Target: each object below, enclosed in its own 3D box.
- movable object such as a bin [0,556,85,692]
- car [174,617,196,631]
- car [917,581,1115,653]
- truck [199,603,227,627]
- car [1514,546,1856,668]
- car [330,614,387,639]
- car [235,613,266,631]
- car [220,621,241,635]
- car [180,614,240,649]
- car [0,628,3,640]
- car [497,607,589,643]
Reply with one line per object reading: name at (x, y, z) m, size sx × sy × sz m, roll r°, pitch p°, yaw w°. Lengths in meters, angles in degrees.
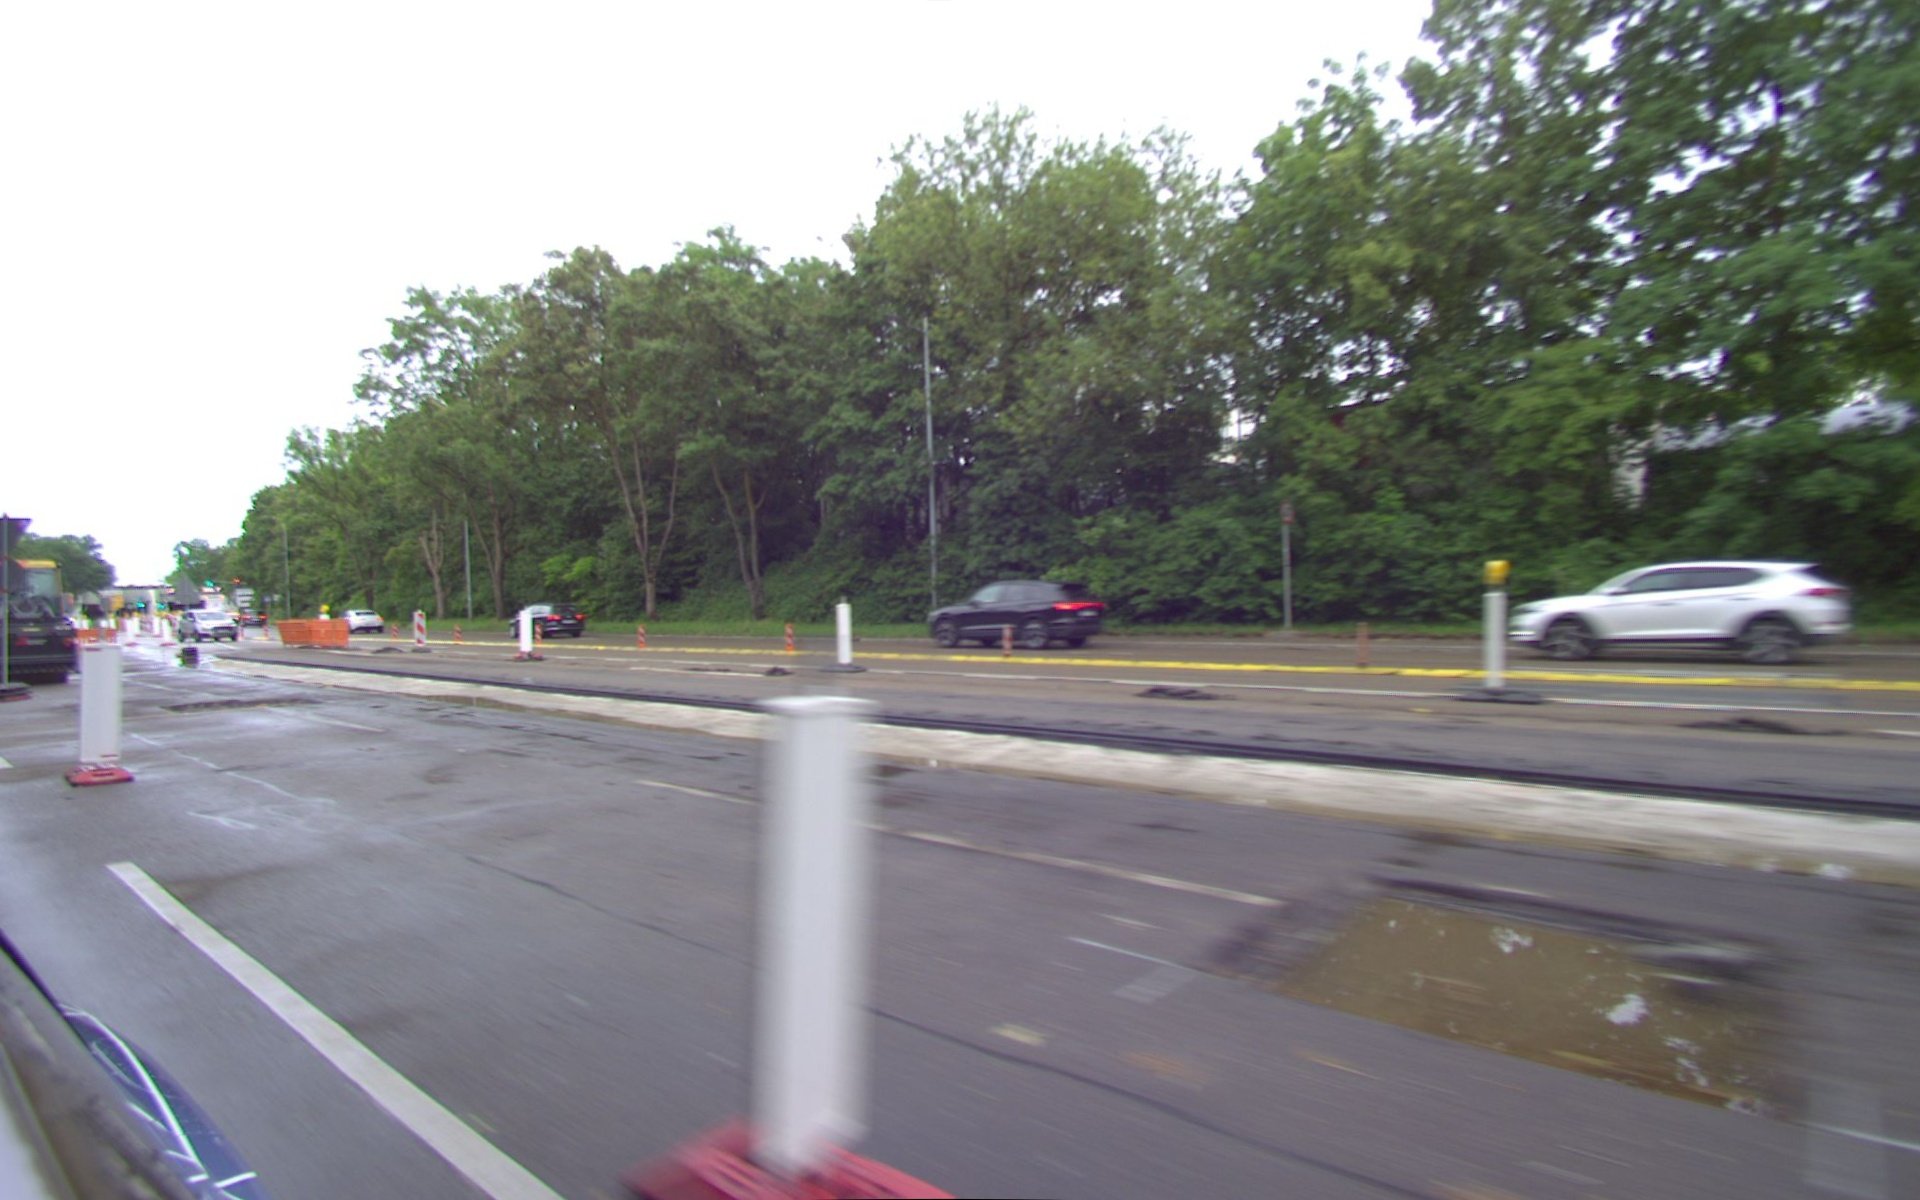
movable object such as a bin at (-22.740, 0.564, 24.509) m, size 5.246 × 3.008 × 1.784 m, roll -1°, pitch 0°, yaw 43°
car at (-92.665, 2.846, 121.026) m, size 1.655 × 1.626 × 3.772 m, roll 0°, pitch -1°, yaw -44°
car at (1.328, 0.438, 25.607) m, size 4.910 × 1.676 × 1.759 m, roll -1°, pitch -1°, yaw 39°
truck at (-122.303, 2.392, 165.578) m, size 3.104 × 3.860 × 9.662 m, roll -1°, pitch 0°, yaw -40°
car at (11.770, 0.128, 16.689) m, size 4.375 × 1.764 × 1.759 m, roll -1°, pitch 0°, yaw 39°
car at (-36.768, 1.629, 61.804) m, size 4.469 × 1.437 × 1.765 m, roll -1°, pitch 0°, yaw 43°
car at (-67.297, 2.121, 95.949) m, size 1.655 × 1.626 × 4.770 m, roll 0°, pitch -1°, yaw -44°
car at (-80.602, 3.057, 111.831) m, size 1.601 × 1.495 × 3.612 m, roll 0°, pitch -1°, yaw -41°
car at (-37.782, 1.566, 50.952) m, size 3.862 × 1.596 × 1.769 m, roll -1°, pitch 1°, yaw 44°
car at (-122.639, 4.357, 128.330) m, size 1.686 × 1.453 × 4.237 m, roll -1°, pitch 0°, yaw -41°
car at (-18.148, 1.079, 43.969) m, size 4.678 × 1.463 × 1.766 m, roll -1°, pitch 0°, yaw 41°
